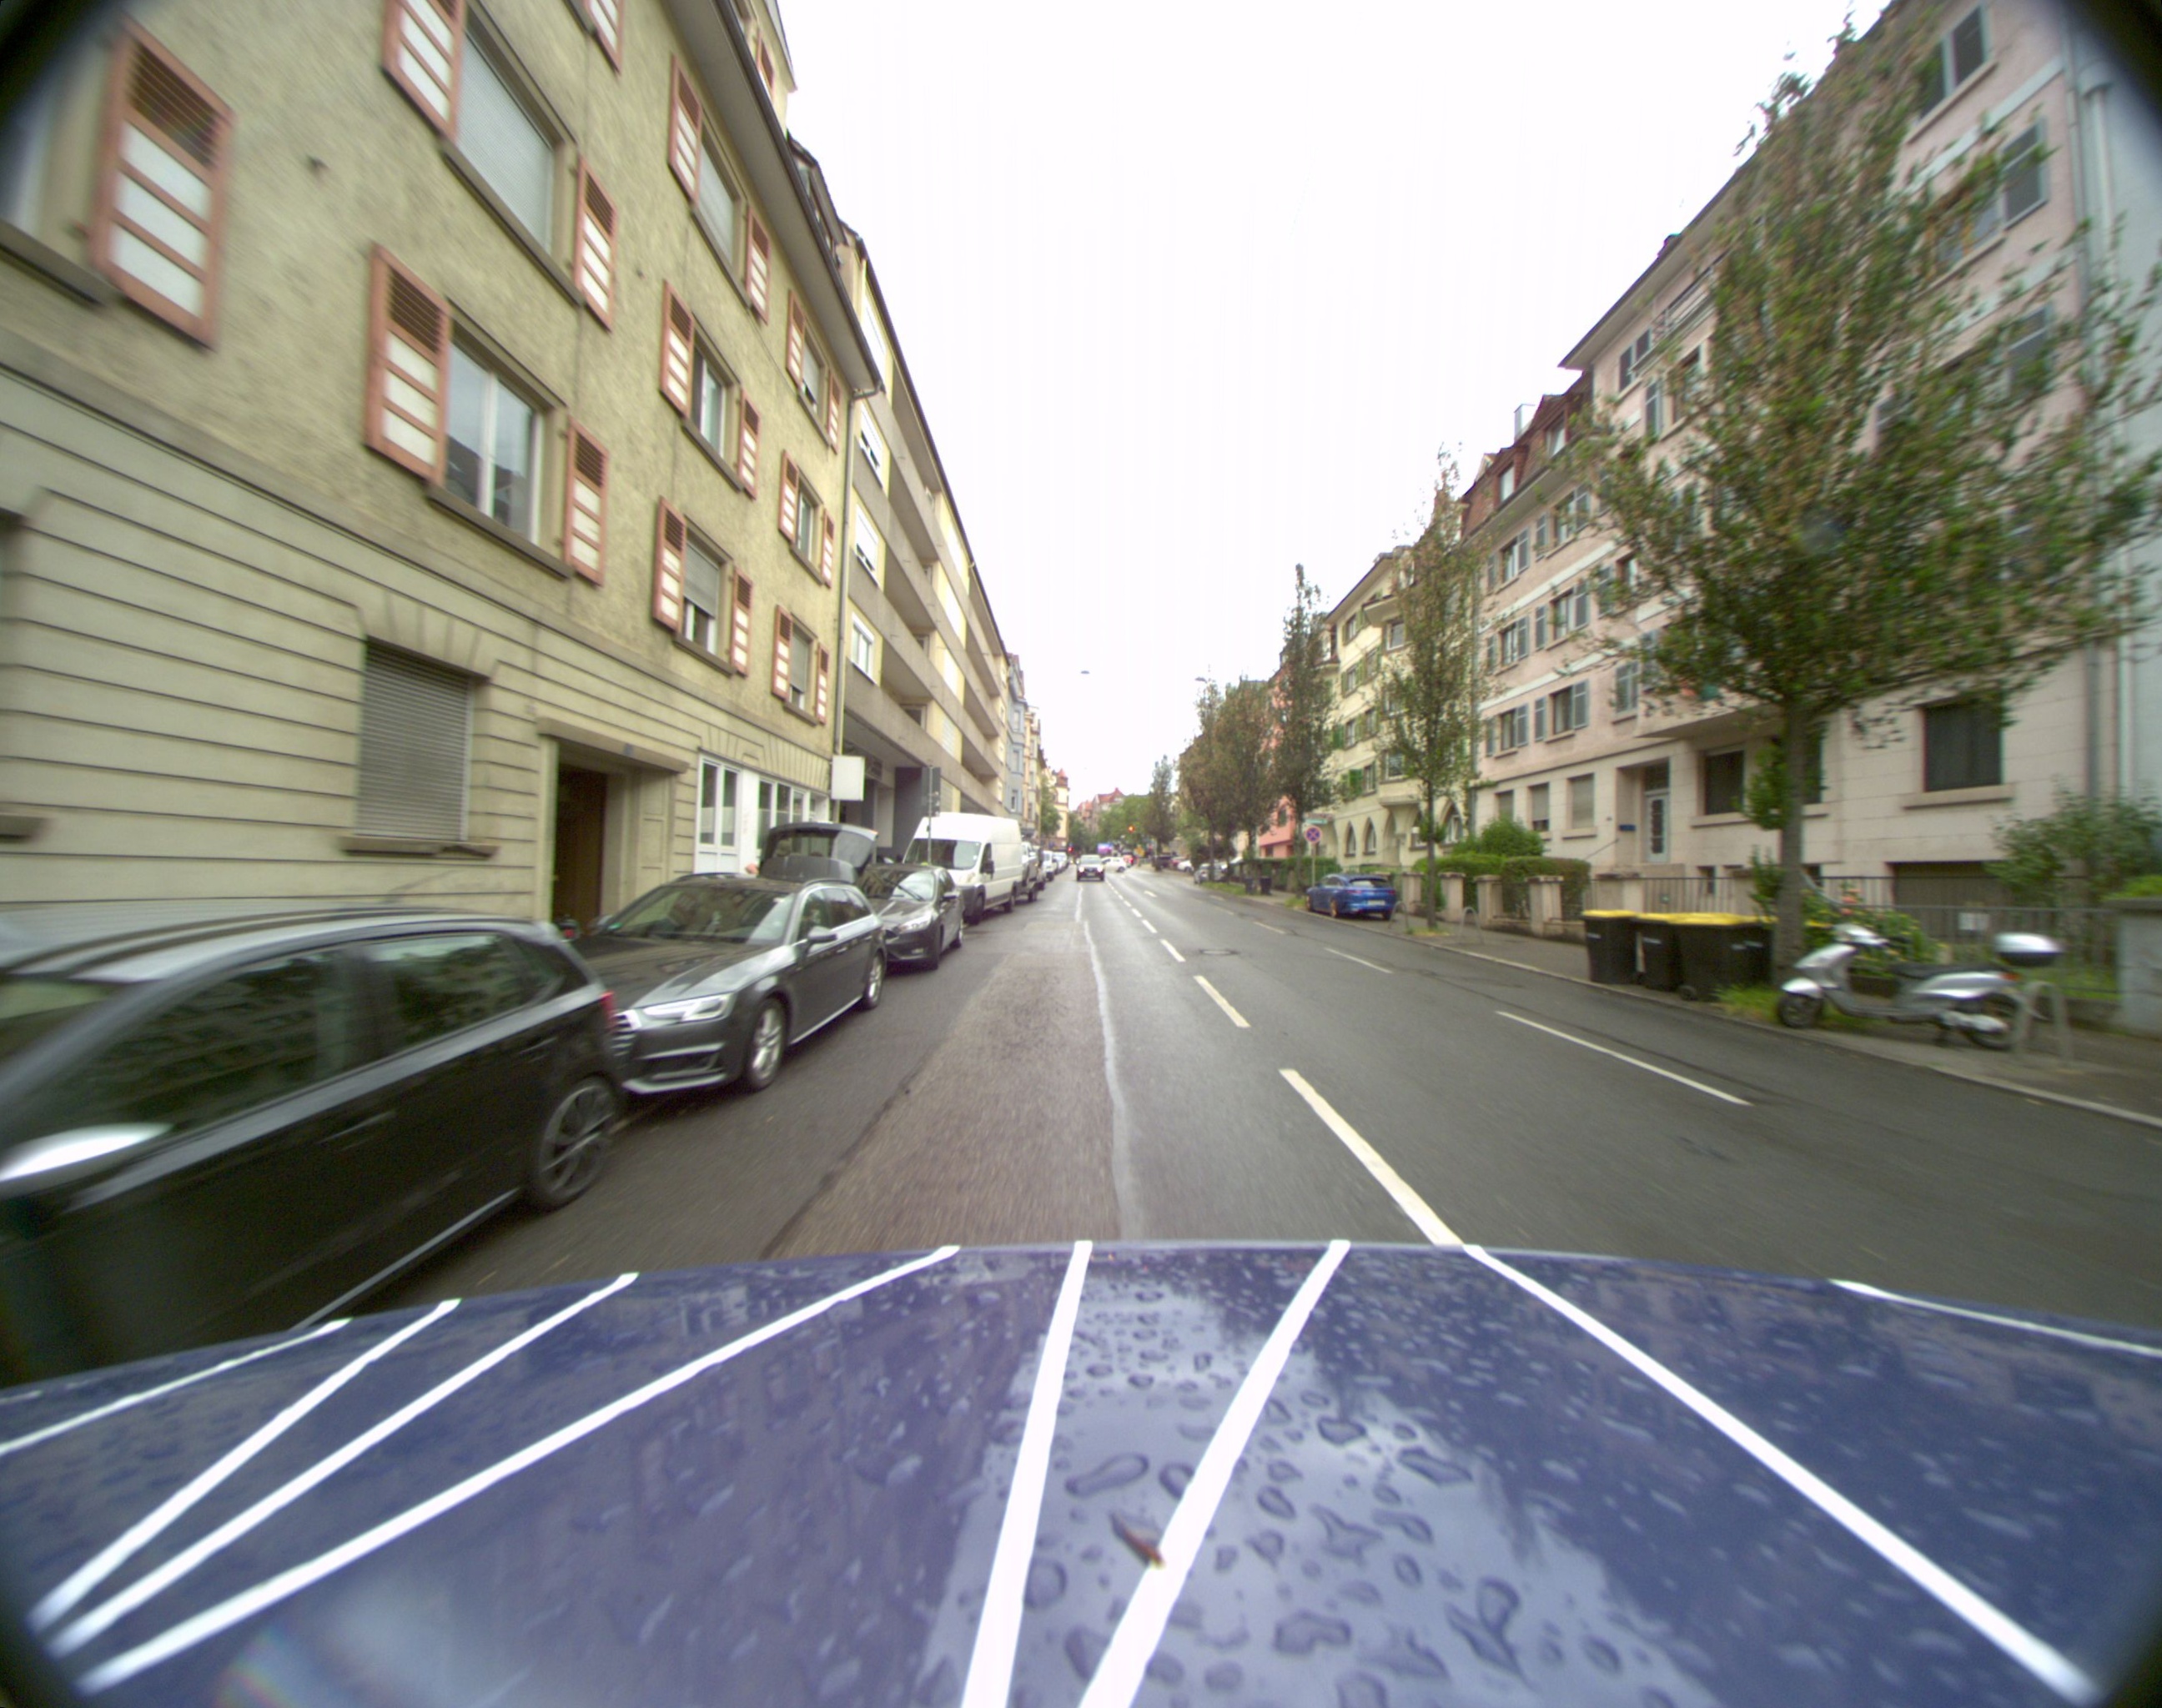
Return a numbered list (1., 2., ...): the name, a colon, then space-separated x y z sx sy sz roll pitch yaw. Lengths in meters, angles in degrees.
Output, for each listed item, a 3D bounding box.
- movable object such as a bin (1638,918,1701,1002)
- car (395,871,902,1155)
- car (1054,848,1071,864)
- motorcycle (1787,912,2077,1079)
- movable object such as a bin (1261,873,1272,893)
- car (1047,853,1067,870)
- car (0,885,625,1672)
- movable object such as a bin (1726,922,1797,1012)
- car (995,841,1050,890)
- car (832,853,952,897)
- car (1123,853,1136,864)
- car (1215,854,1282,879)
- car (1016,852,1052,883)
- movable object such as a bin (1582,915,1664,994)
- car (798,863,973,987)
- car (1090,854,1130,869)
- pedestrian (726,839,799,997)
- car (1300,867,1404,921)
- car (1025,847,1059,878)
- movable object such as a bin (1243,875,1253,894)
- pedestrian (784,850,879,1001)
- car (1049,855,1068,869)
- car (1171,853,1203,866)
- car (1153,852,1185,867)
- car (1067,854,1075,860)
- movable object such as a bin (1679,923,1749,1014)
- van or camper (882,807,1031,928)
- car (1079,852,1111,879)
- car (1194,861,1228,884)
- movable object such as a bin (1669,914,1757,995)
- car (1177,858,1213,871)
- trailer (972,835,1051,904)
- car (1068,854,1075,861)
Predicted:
1. movable object such as a bin: 8.063 1.437 10.413 0.472 1.052 0.483 -2 2 -9
2. car: -3.036 0.970 6.674 1.782 1.470 4.587 2 0 0
3. car: -2.135 0.187 89.551 1.826 1.808 4.519 2 1 1
4. motorcycle: 8.258 1.303 7.527 1.806 1.307 0.743 2 1 42
5. movable object such as a bin: 9.081 1.412 37.217 0.365 0.906 0.572 -1 2 0
6. car: -2.247 0.707 71.948 1.709 1.434 3.932 2 1 1
7. car: -3.087 0.960 1.893 1.636 1.470 3.734 4 0 -1
8. movable object such as a bin: 8.712 1.428 9.735 0.472 1.052 0.483 -2 2 -9
9. car: -2.705 0.486 36.555 2.159 2.136 5.509 2 1 0
10. car: -6.975 0.744 28.303 3.996 1.383 1.558 3 1 2
11. car: 7.119 0.670 112.095 1.772 1.540 3.652 0 1 0
12. car: 12.923 0.954 58.722 4.731 1.894 1.918 0 1 -2
13. car: -2.668 0.723 43.768 1.751 1.630 4.272 2 1 0
14. movable object such as a bin: 7.870 1.451 11.053 0.827 1.052 0.483 -2 2 1
15. car: -2.809 0.942 11.880 1.782 1.470 4.188 2 0 -3
16. car: 2.885 0.751 76.076 3.653 1.464 1.668 0 1 -11
17. pedestrian: -3.785 0.737 9.071 0.687 1.777 0.712 2 2 -19
18. car: 8.563 1.213 24.413 1.683 1.378 4.602 1 1 0
19. car: -2.578 0.514 51.456 1.994 1.944 4.822 2 1 0
20. movable object such as a bin: 8.164 1.477 37.092 0.365 0.884 0.572 -1 1 0
21. pedestrian: -3.005 0.835 9.159 0.630 1.681 0.636 9 3 30
22. car: -2.304 0.818 78.867 1.709 1.389 3.932 -2 1 1
23. car: 13.869 0.686 99.803 3.928 1.613 1.592 2 1 1
24. car: 11.860 0.689 102.669 3.930 1.836 1.867 2 1 -2
25. car: -2.325 0.744 177.824 1.553 1.386 3.745 2 1 1
26. movable object such as a bin: 8.045 1.438 9.666 0.526 1.052 0.482 -3 2 -21
27. van or camper: -3.064 0.303 20.524 2.188 2.684 6.423 2 0 7
28. car: 0.871 0.712 49.555 1.890 1.543 3.998 -2 1 -1
29. car: 9.019 1.237 53.083 1.685 1.409 4.137 2 1 1
30. movable object such as a bin: 8.842 1.397 10.647 0.827 1.052 0.483 -1 2 1
31. car: 13.396 1.229 89.518 3.928 1.289 1.646 2 1 1
32. trailer: -2.380 0.541 27.390 1.998 2.139 5.073 3 -1 3
33. car: -2.241 0.772 177.594 1.553 1.386 3.745 2 1 1
